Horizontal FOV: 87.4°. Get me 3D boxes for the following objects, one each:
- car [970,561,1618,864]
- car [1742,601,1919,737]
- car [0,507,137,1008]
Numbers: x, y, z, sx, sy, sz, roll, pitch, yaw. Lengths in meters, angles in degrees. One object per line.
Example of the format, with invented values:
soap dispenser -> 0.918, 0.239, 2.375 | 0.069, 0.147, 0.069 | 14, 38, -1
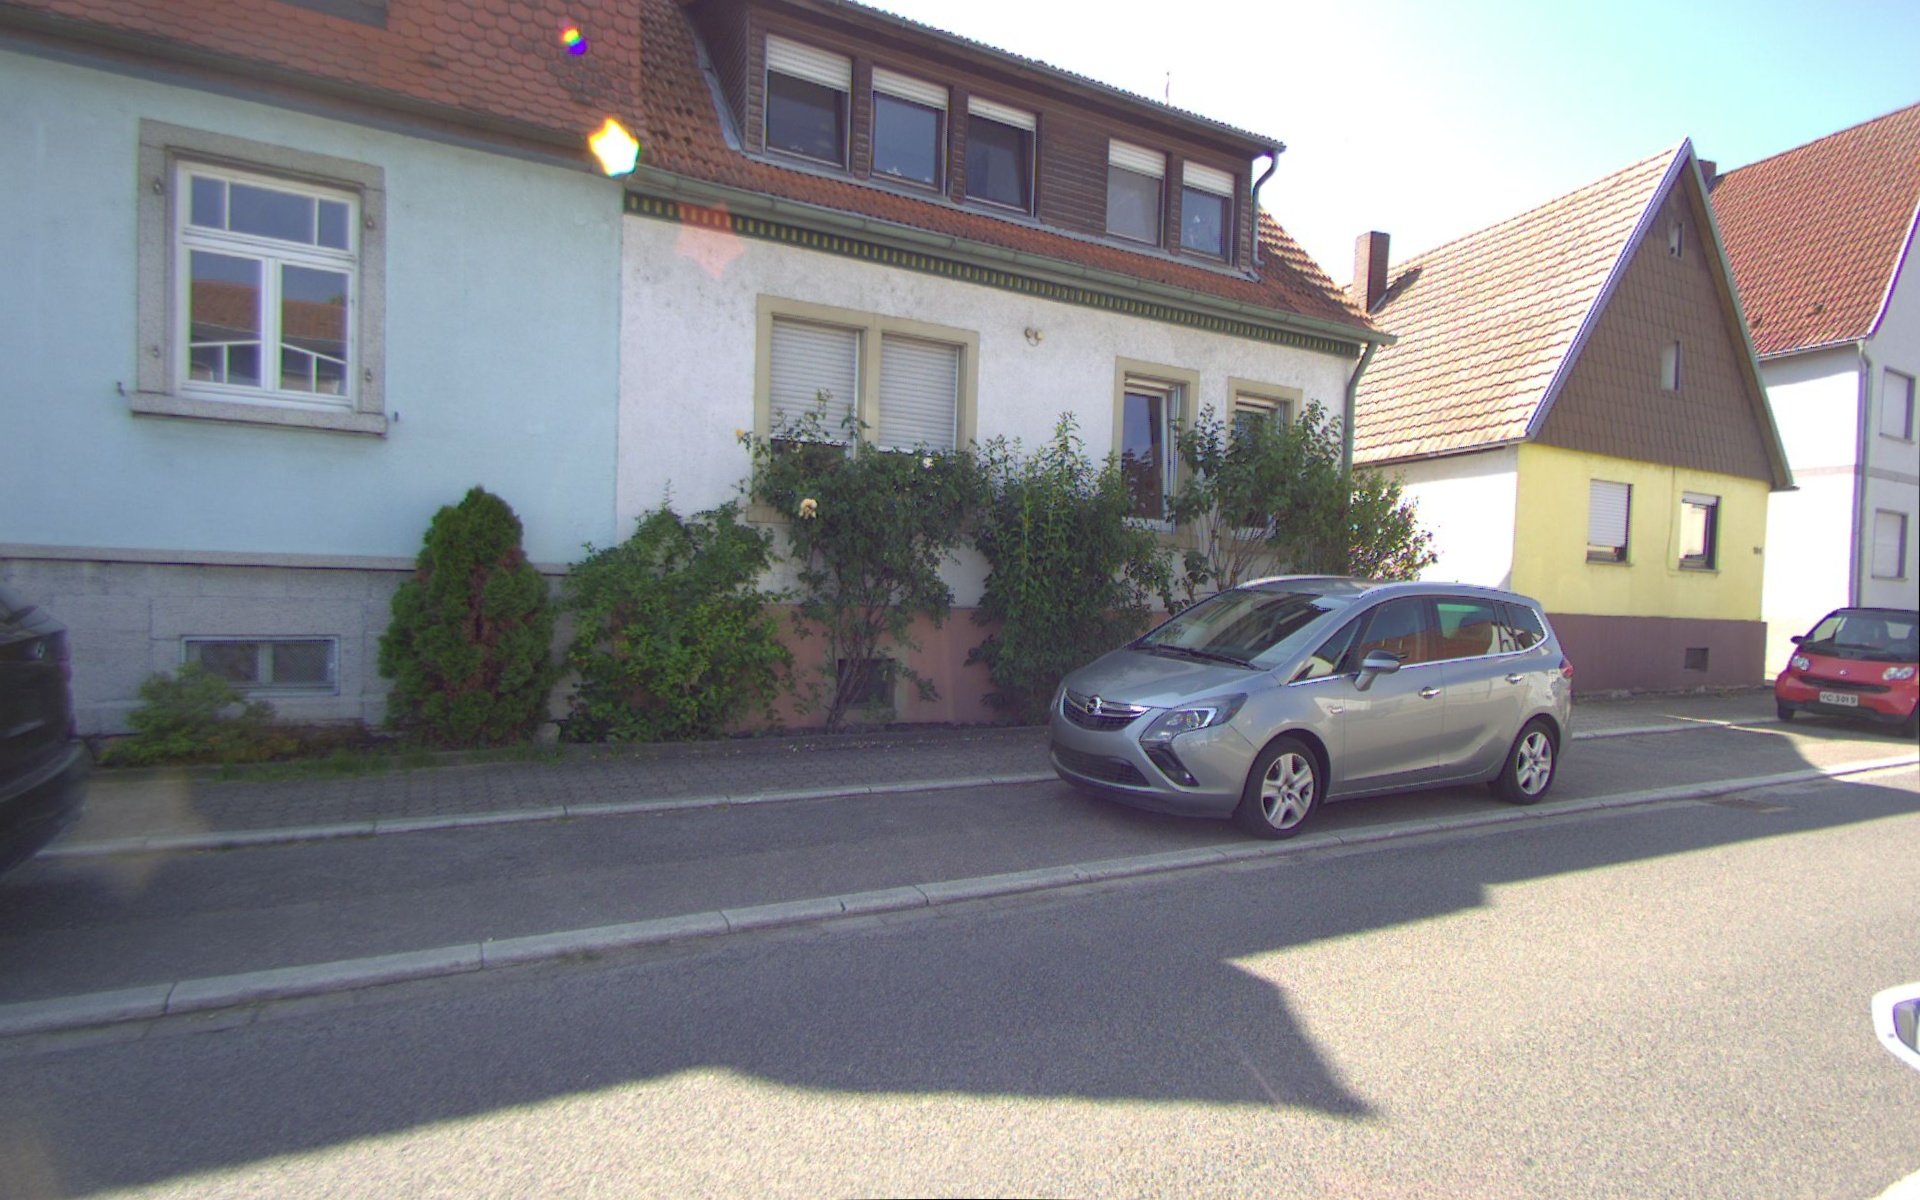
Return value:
car -> 2.559, 0.650, 7.460 | 4.606, 1.659, 1.865 | 2, 2, -28
car -> 12.107, 0.862, 13.397 | 2.951, 1.565, 1.545 | 2, 2, -29
car -> -5.507, 0.437, 2.811 | 4.605, 1.690, 1.913 | 2, 3, -27
